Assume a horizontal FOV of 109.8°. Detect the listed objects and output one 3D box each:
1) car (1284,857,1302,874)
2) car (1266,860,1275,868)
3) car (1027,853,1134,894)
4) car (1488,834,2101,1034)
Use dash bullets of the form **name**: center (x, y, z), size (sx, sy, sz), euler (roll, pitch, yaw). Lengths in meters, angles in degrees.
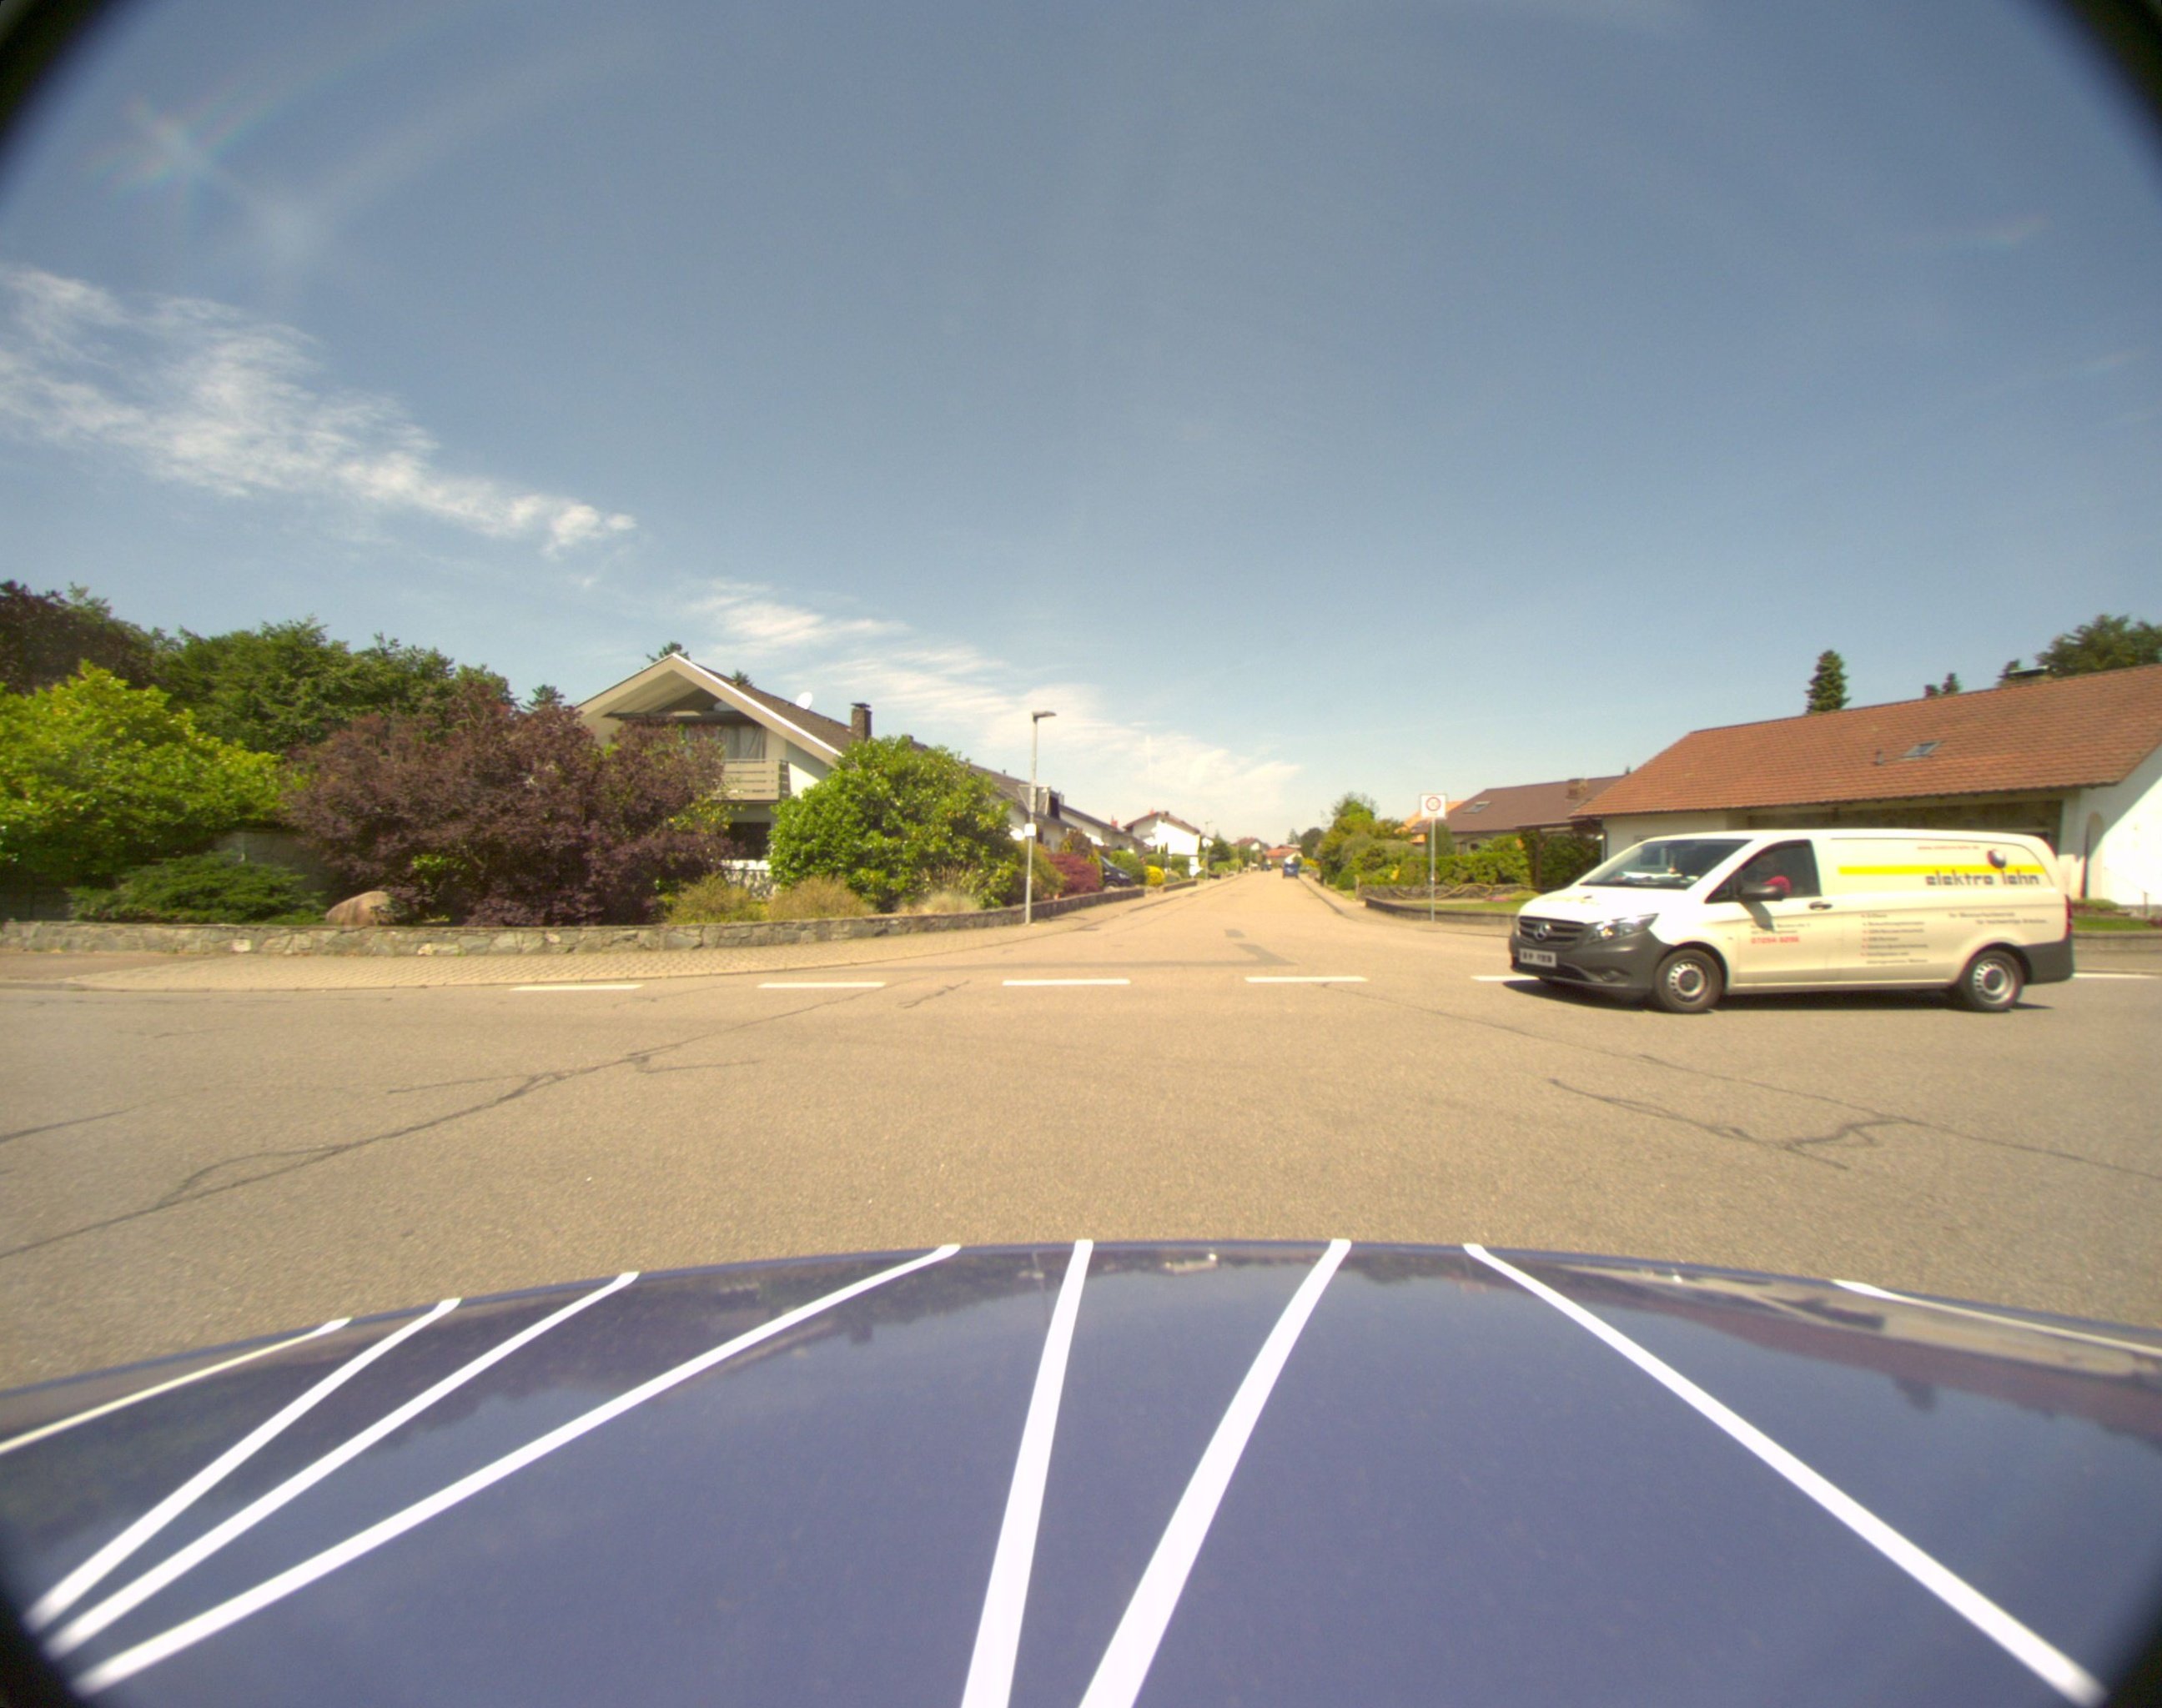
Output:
- **car**: center (23.728, 1.220, 84.958), size (1.824, 1.870, 4.005), euler (0, 0, 16)
- **car**: center (43.870, 2.319, 176.284), size (1.873, 1.914, 4.003), euler (0, 0, 11)
- **car**: center (0.014, 0.912, 37.171), size (4.959, 1.904, 1.930), euler (0, 0, 8)
- **car**: center (7.449, 0.737, 8.256), size (5.067, 1.845, 2.018), euler (0, 0, -6)
